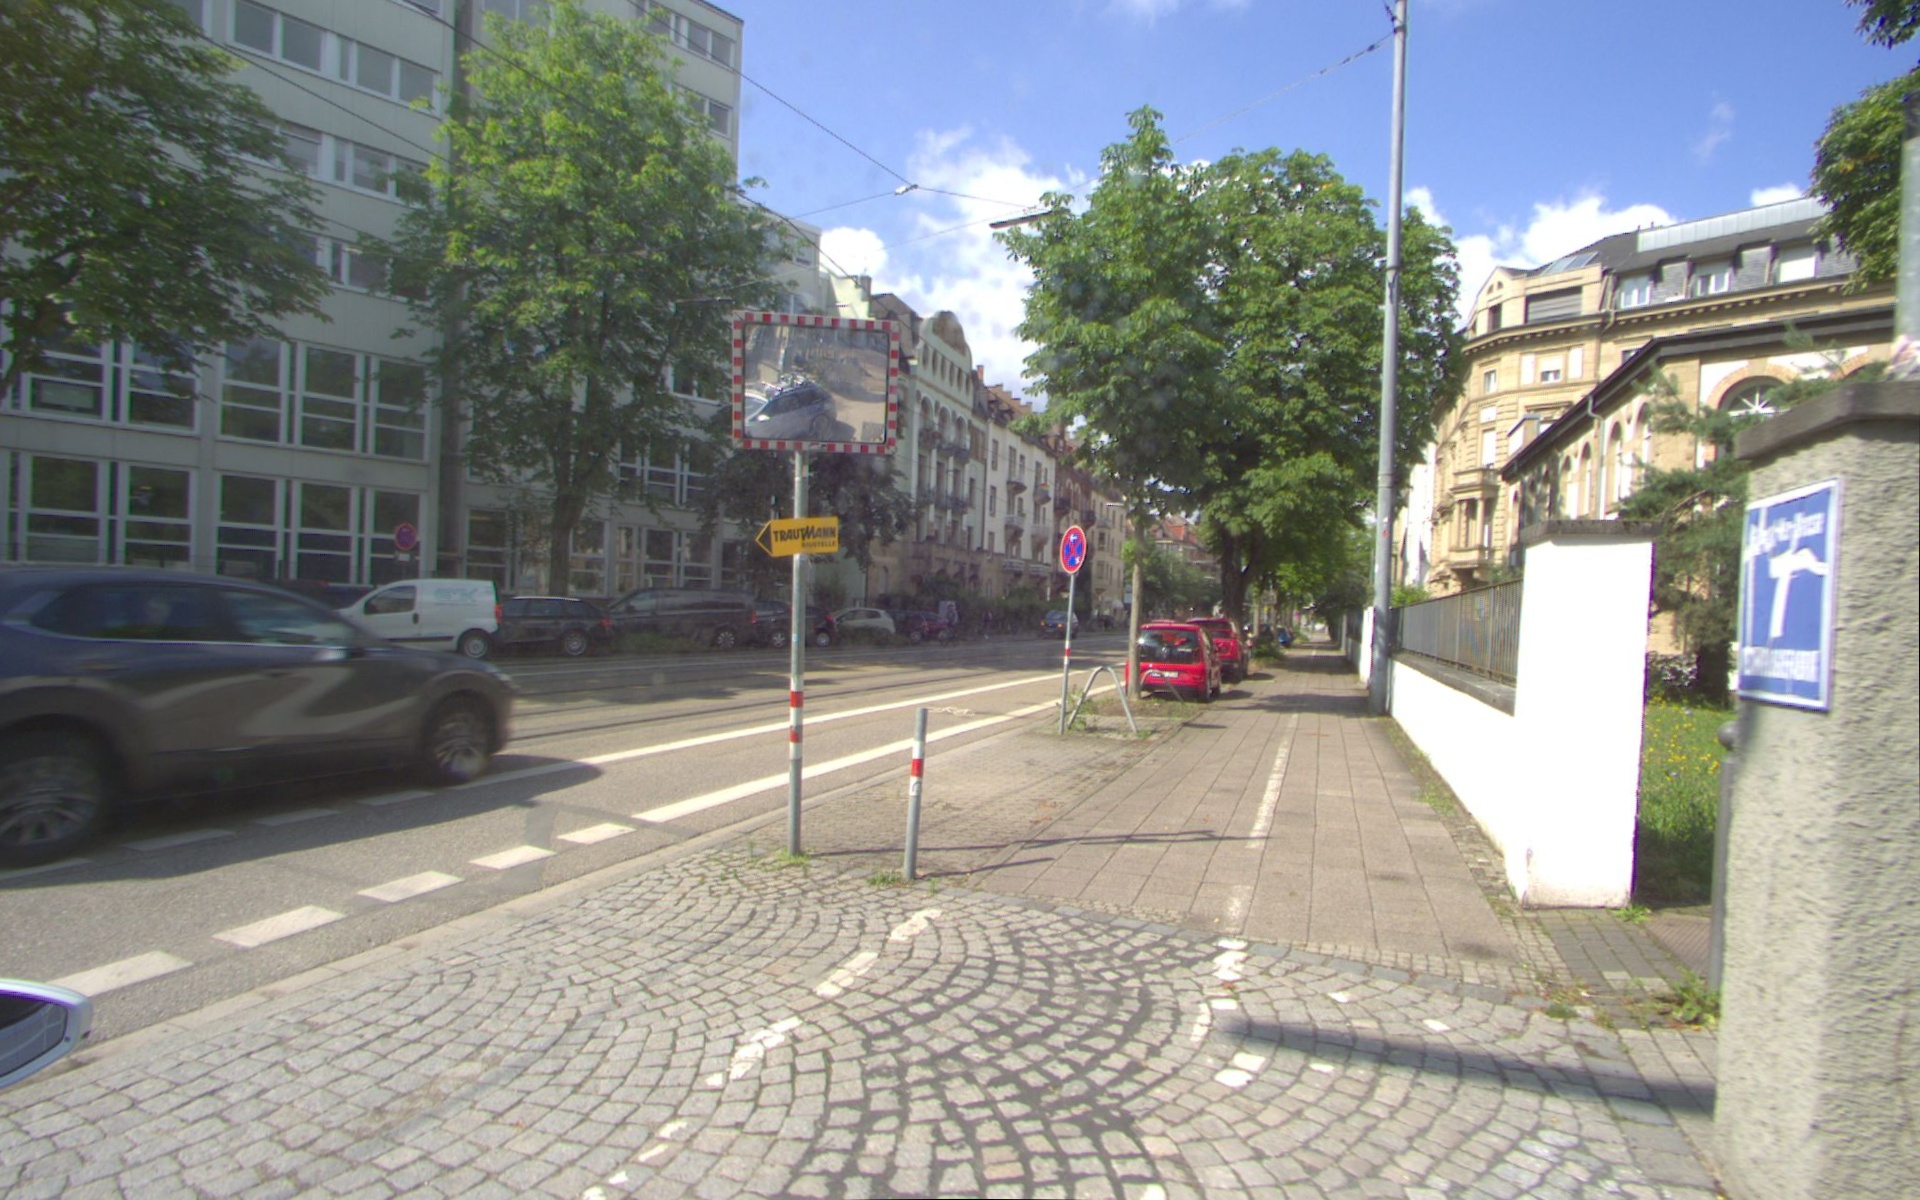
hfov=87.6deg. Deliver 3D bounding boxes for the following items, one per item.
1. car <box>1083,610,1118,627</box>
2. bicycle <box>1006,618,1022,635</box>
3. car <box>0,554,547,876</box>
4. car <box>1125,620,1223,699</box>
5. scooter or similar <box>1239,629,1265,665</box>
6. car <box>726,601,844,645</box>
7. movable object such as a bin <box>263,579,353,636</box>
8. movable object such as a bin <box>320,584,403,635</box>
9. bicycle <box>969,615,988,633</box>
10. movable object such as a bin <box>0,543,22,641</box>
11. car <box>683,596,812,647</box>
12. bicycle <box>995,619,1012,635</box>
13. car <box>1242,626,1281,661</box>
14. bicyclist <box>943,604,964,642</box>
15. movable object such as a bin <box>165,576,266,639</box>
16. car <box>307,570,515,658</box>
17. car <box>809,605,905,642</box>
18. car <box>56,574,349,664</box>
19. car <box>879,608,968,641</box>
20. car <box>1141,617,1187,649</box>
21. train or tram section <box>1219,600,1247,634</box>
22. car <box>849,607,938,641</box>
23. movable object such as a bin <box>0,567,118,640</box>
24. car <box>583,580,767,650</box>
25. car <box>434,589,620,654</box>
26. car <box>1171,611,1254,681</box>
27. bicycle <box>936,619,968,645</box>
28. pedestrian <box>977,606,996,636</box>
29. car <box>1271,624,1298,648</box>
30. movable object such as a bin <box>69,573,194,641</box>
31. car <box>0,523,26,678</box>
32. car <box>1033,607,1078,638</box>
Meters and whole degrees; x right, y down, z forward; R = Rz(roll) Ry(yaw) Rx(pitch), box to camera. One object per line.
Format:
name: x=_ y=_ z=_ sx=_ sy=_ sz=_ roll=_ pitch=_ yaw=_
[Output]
car: x=14.410 y=1.885 z=102.697 sx=3.192 sy=1.533 sz=1.674 roll=4 pitch=0 yaw=24
bicycle: x=3.364 y=1.660 z=62.557 sx=0.377 sy=0.971 sz=1.806 roll=5 pitch=1 yaw=22
car: x=-4.980 y=0.543 z=6.502 sx=1.763 sy=1.532 sz=4.343 roll=4 pitch=0 yaw=19
car: x=4.432 y=1.165 z=20.404 sx=1.577 sy=1.447 sz=3.591 roll=-1 pitch=-2 yaw=19
scooter or similar: x=10.267 y=1.638 z=35.173 sx=0.339 sy=1.253 sz=1.248 roll=-1 pitch=-2 yaw=44
car: x=-6.319 y=0.843 z=36.177 sx=3.934 sy=1.503 sz=1.736 roll=1 pitch=-1 yaw=-22
movable object such as a bin: x=-15.971 y=0.200 z=24.559 sx=1.147 sy=1.344 sz=1.439 roll=0 pitch=-2 yaw=19
movable object such as a bin: x=-15.490 y=0.268 z=25.947 sx=1.151 sy=1.299 sz=1.439 roll=0 pitch=-2 yaw=19
bicycle: x=1.038 y=1.376 z=56.679 sx=0.377 sy=0.971 sz=1.806 roll=5 pitch=1 yaw=22
movable object such as a bin: x=-18.446 y=-0.161 z=18.214 sx=1.366 sy=1.804 sz=1.537 roll=0 pitch=-1 yaw=16
car: x=-7.067 y=0.733 z=33.280 sx=3.936 sy=1.613 sz=1.735 roll=1 pitch=-1 yaw=-24
bicycle: x=2.629 y=1.626 z=60.603 sx=0.377 sy=0.971 sz=1.806 roll=5 pitch=1 yaw=22
car: x=14.800 y=2.110 z=49.003 sx=1.672 sy=1.611 sz=4.197 roll=1 pitch=-1 yaw=19
bicyclist: x=-0.274 y=0.976 z=43.174 sx=0.632 sy=1.597 sz=0.740 roll=2 pitch=0 yaw=22
movable object such as a bin: x=-16.945 y=0.193 z=22.828 sx=1.175 sy=1.398 sz=1.440 roll=0 pitch=-1 yaw=17
car: x=-11.403 y=0.326 z=21.082 sx=3.655 sy=1.715 sz=1.755 roll=1 pitch=-1 yaw=-23
car: x=-4.398 y=1.003 z=42.662 sx=3.748 sy=1.503 sz=1.691 roll=1 pitch=-1 yaw=-25
car: x=-13.159 y=0.357 z=17.742 sx=3.945 sy=1.436 sz=1.713 roll=1 pitch=-1 yaw=-31
car: x=-1.767 y=1.190 z=48.603 sx=3.906 sy=1.503 sz=1.841 roll=1 pitch=-1 yaw=-23
car: x=10.573 y=1.683 z=51.732 sx=1.758 sy=1.512 sz=4.876 roll=2 pitch=0 yaw=18
train or tram section: x=30.275 y=1.977 z=110.891 sx=2.612 sy=3.573 sz=8.487 roll=2 pitch=-1 yaw=17
car: x=-3.064 y=1.101 z=45.690 sx=3.742 sy=1.503 sz=1.694 roll=1 pitch=-1 yaw=-19
movable object such as a bin: x=-17.936 y=0.101 z=19.746 sx=1.366 sy=1.381 sz=1.537 roll=0 pitch=-2 yaw=16
car: x=-8.559 y=0.491 z=30.144 sx=5.088 sy=1.979 sz=1.909 roll=1 pitch=-1 yaw=-26
car: x=-10.351 y=0.536 z=24.055 sx=3.938 sy=1.436 sz=1.754 roll=1 pitch=-1 yaw=-26
car: x=6.895 y=1.184 z=27.059 sx=1.848 sy=1.698 sz=4.276 roll=1 pitch=-1 yaw=18
bicycle: x=-0.331 y=1.391 z=43.093 sx=0.646 sy=1.054 sz=1.996 roll=2 pitch=-1 yaw=22
pedestrian: x=1.459 y=1.176 z=54.914 sx=0.670 sy=1.589 sz=0.880 roll=5 pitch=1 yaw=22
car: x=21.514 y=2.352 z=66.378 sx=1.615 sy=1.515 sz=3.621 roll=1 pitch=-1 yaw=19
movable object such as a bin: x=-17.563 y=0.175 z=21.274 sx=1.366 sy=1.381 sz=1.537 roll=0 pitch=-2 yaw=16
car: x=-14.543 y=-0.090 z=11.865 sx=4.609 sy=2.023 sz=1.963 roll=3 pitch=0 yaw=-21
car: x=6.038 y=1.409 z=62.701 sx=1.758 sy=1.785 sz=4.876 roll=2 pitch=0 yaw=18
